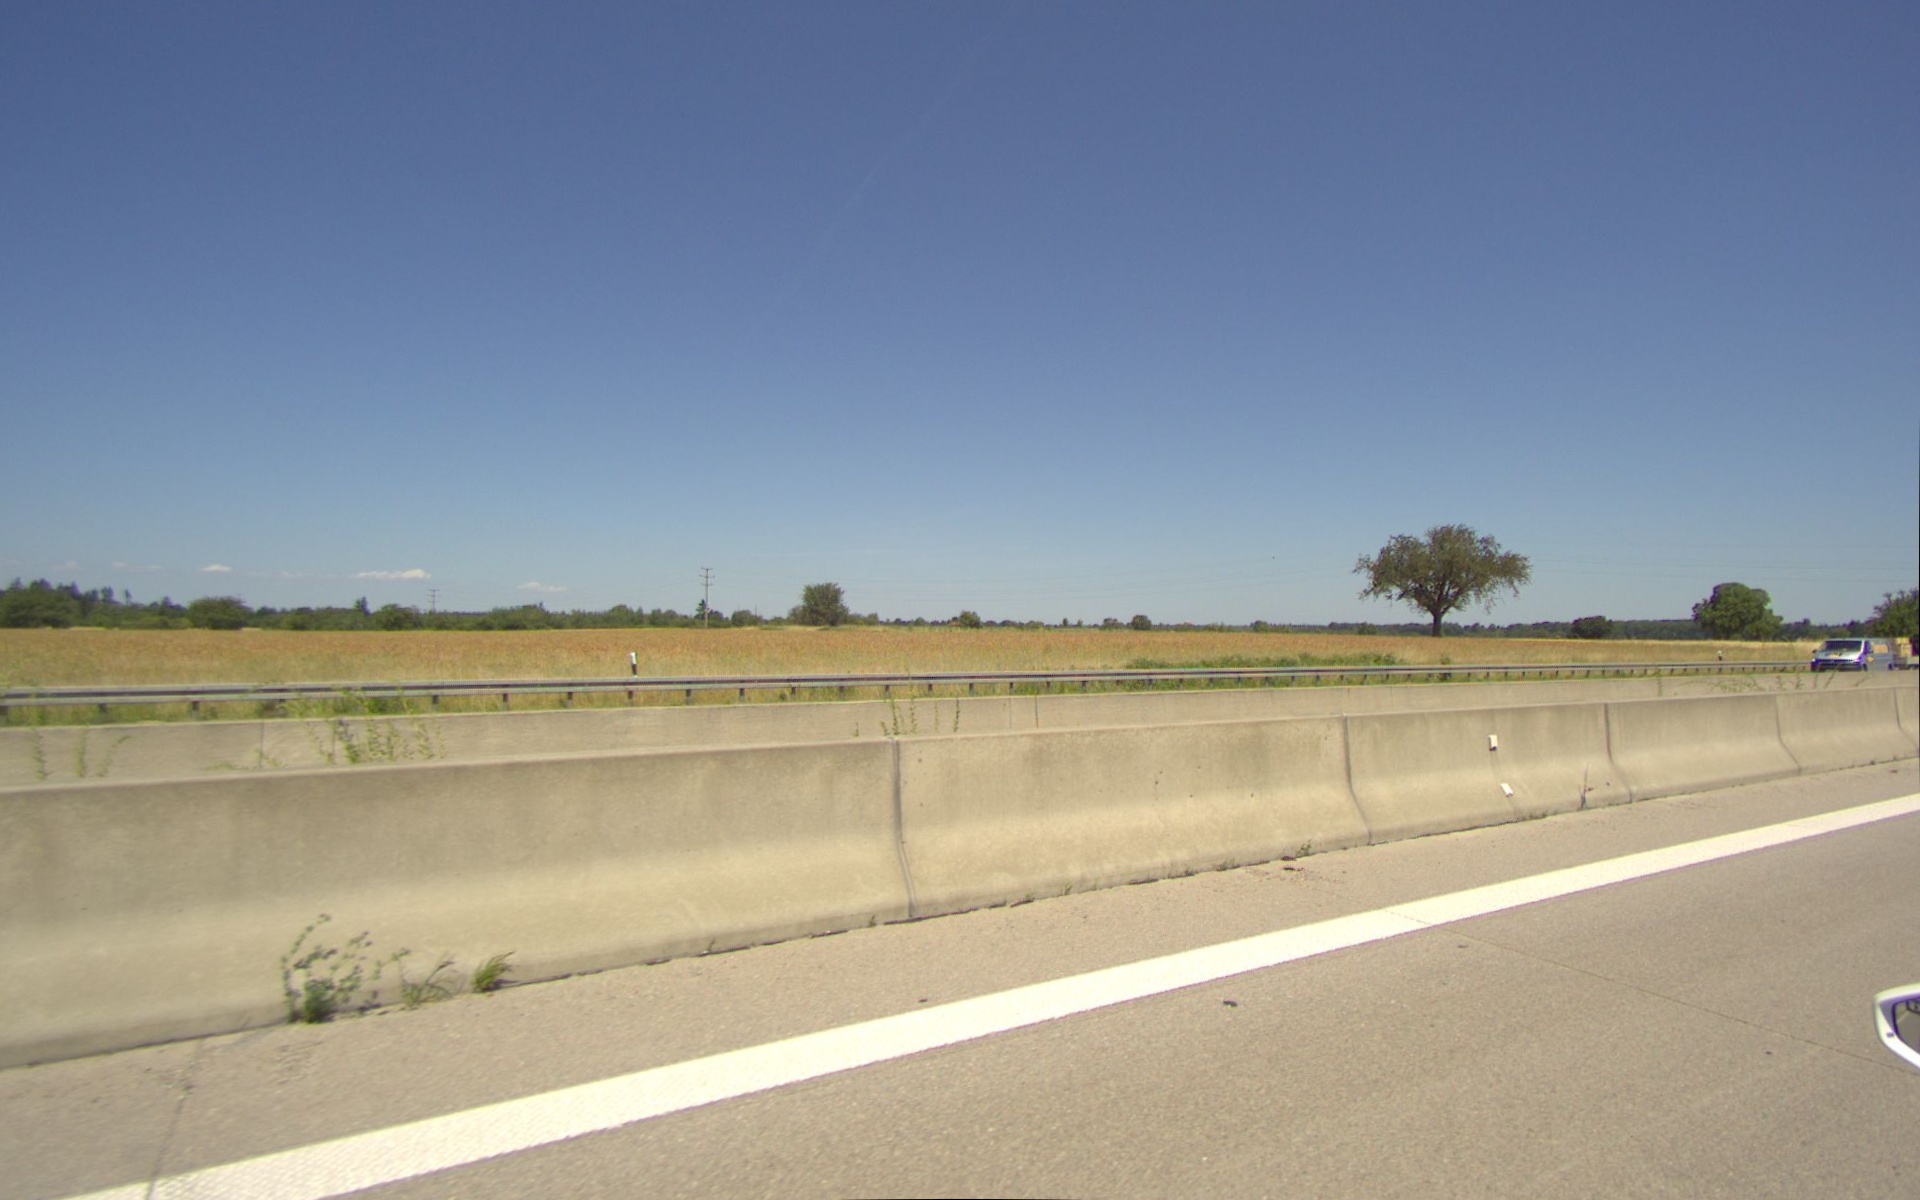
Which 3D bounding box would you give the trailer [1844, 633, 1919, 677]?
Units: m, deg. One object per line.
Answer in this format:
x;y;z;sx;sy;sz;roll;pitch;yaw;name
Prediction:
47.069;2.775;50.913;5.550;2.070;1.800;2;0;-32;trailer

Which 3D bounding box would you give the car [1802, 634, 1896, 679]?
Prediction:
42.637;2.673;48.153;5.503;1.970;1.855;2;0;-32;car
